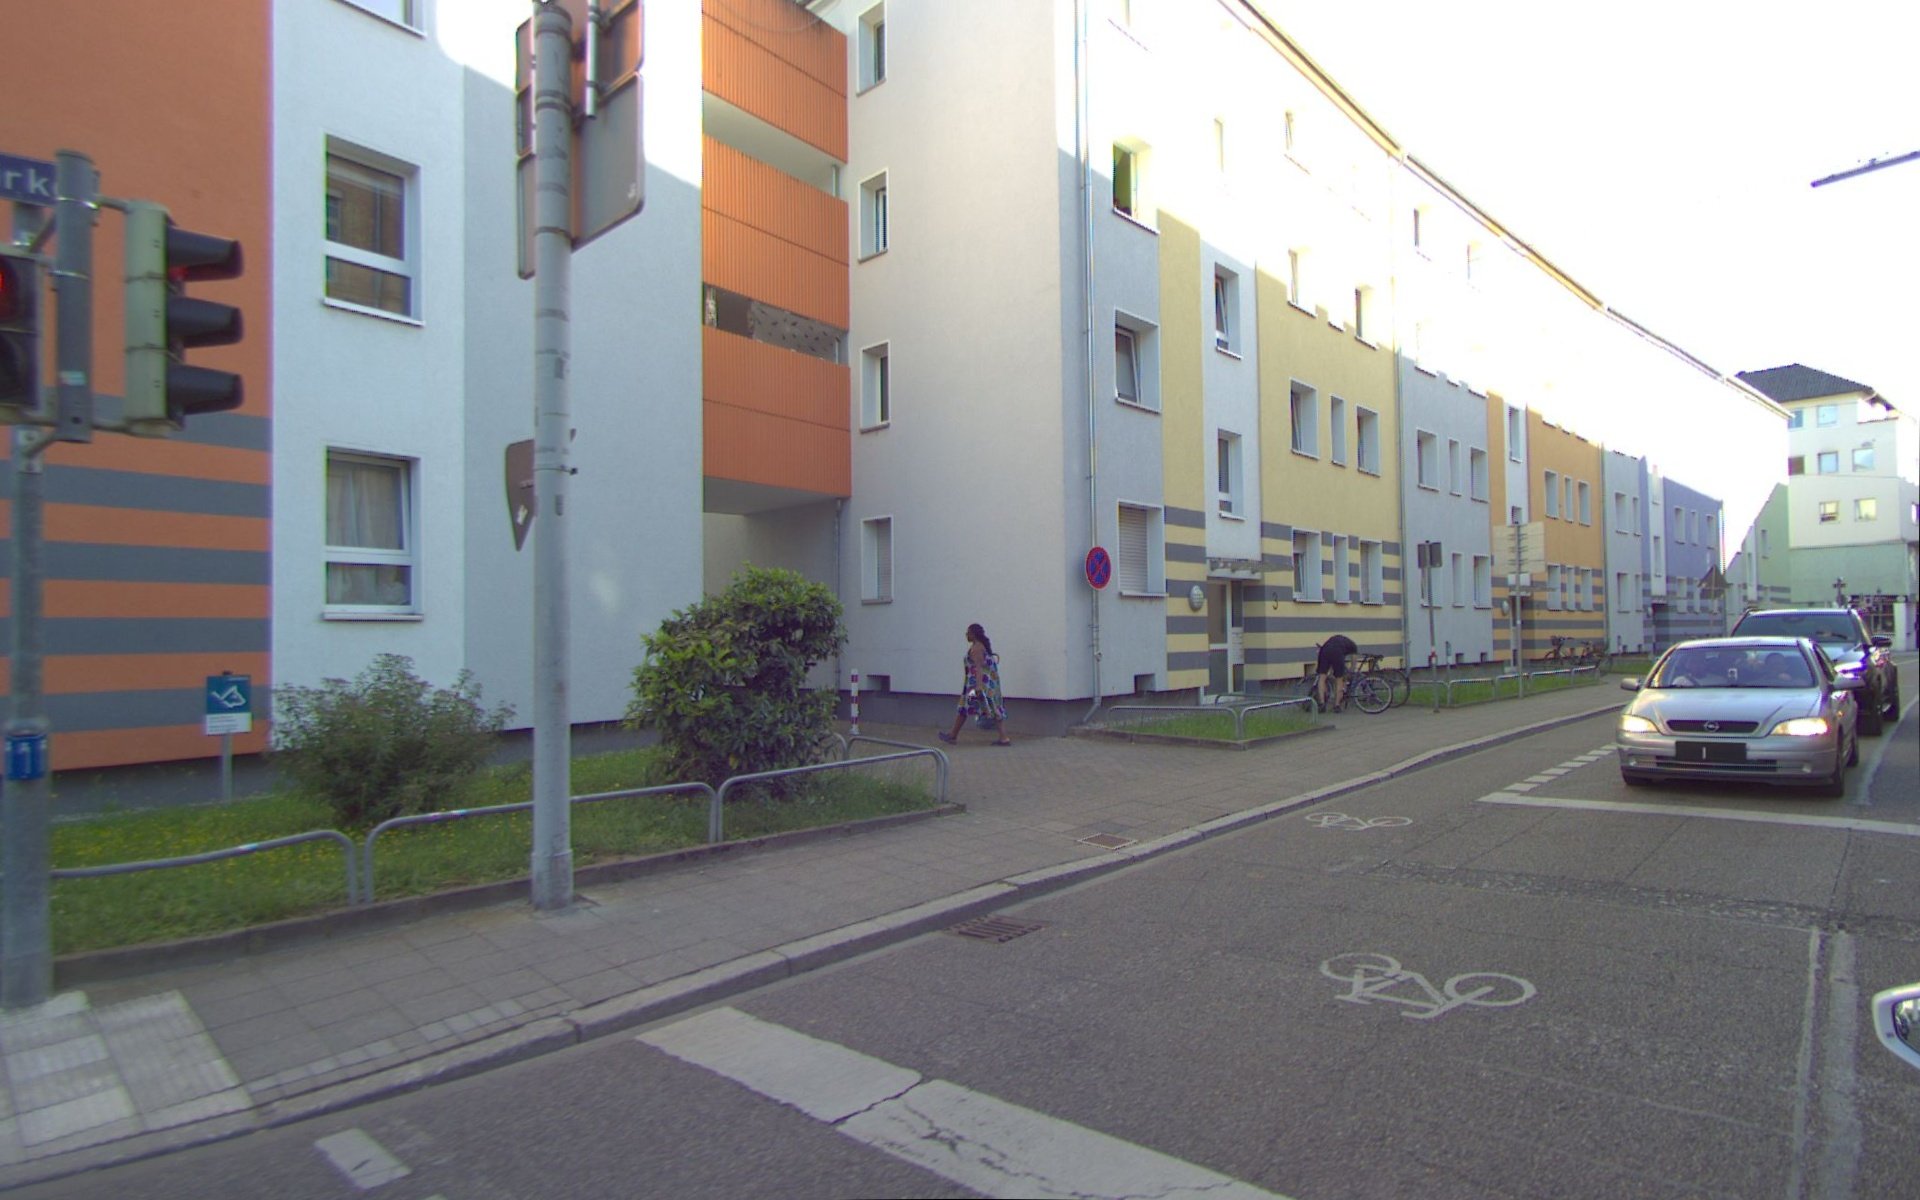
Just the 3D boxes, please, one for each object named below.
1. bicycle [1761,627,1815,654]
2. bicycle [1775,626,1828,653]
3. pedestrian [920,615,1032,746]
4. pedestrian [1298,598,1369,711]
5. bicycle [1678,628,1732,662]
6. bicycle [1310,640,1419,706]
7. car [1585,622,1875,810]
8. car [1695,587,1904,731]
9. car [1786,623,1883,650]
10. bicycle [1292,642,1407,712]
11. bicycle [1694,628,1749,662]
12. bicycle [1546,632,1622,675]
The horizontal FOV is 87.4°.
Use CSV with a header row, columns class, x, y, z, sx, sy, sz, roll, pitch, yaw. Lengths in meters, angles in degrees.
class,x,y,z,sx,sy,sz,roll,pitch,yaw
bicycle,39.151,1.884,47.509,1.903,1.195,0.612,1,0,34
bicycle,40.415,1.898,48.272,1.906,1.195,0.610,1,0,41
pedestrian,0.212,1.000,12.983,1.000,1.593,1.074,-2,-2,40
pedestrian,6.405,0.919,17.261,0.857,1.879,0.718,0,-2,-22
bicycle,28.428,1.726,38.332,0.446,1.258,1.570,1,-2,-43
bicycle,7.484,1.338,18.623,1.731,1.160,0.648,-2,-2,40
car,7.937,1.025,10.209,4.109,1.505,1.724,1,-4,-45
car,12.982,0.859,15.403,5.061,1.858,1.882,1,-4,-45
car,51.716,2.171,59.462,1.931,1.462,4.066,0,-3,-39
bicycle,6.737,1.312,17.420,1.731,1.160,0.648,-2,-2,40
bicycle,29.531,1.743,38.958,0.464,1.258,1.624,1,-2,-43
bicycle,17.617,1.503,28.388,1.731,1.160,0.648,-2,-2,40
